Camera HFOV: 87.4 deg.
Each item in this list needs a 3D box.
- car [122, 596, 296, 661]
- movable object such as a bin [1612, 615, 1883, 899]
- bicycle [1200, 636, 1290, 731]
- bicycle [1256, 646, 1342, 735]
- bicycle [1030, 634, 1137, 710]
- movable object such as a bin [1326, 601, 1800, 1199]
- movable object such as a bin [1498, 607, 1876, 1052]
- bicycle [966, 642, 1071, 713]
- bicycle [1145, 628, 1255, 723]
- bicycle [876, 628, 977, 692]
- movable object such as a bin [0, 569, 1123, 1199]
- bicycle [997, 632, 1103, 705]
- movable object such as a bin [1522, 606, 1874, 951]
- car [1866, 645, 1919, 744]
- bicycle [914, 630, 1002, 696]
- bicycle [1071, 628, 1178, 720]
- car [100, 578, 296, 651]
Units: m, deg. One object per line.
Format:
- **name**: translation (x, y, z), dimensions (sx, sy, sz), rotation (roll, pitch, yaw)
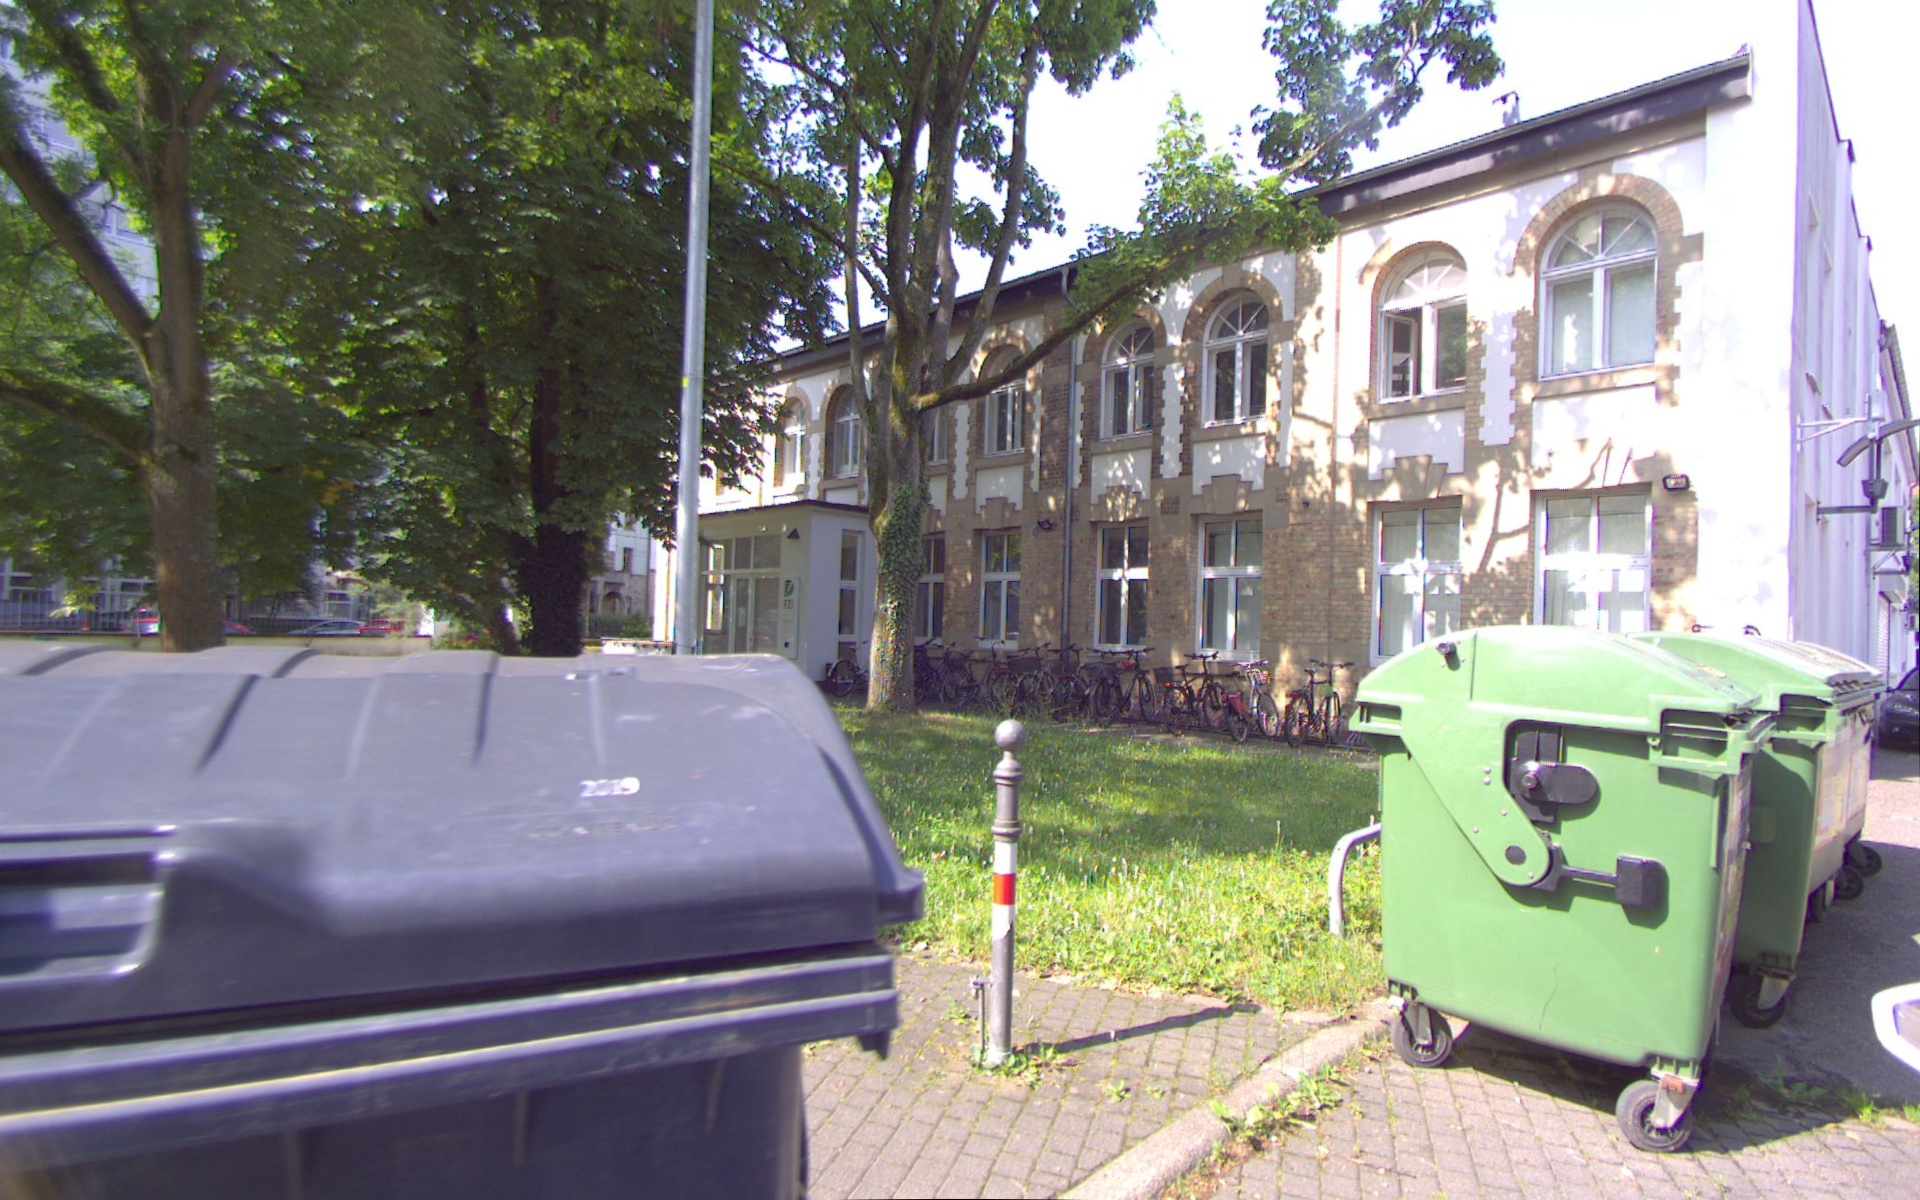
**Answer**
- **car**: translation (-19.548, 0.689, 26.314), dimensions (1.639, 1.506, 3.279), rotation (0, 1, 18)
- **movable object such as a bin**: translation (4.939, 0.867, 6.296), dimensions (1.333, 1.471, 1.089), rotation (-1, 3, -43)
- **bicycle**: translation (3.977, 1.126, 13.923), dimensions (0.353, 1.158, 1.848), rotation (4, 3, 43)
- **bicycle**: translation (4.606, 1.190, 13.583), dimensions (0.316, 1.051, 1.848), rotation (4, 2, 43)
- **bicycle**: translation (1.990, 1.109, 15.973), dimensions (2.051, 1.070, 0.415), rotation (0, 3, -42)
- **movable object such as a bin**: translation (2.053, 0.769, 3.380), dimensions (1.087, 1.471, 1.336), rotation (3, 3, 42)
- **movable object such as a bin**: translation (2.958, 0.804, 4.273), dimensions (1.083, 1.471, 1.231), rotation (3, 3, 30)
- **bicycle**: translation (1.013, 1.276, 16.924), dimensions (2.051, 1.070, 0.415), rotation (0, -1, -42)
- **bicycle**: translation (3.529, 1.065, 14.652), dimensions (2.051, 1.232, 0.415), rotation (0, 3, -42)
- **bicycle**: translation (-0.585, 1.062, 18.273), dimensions (2.051, 1.070, 0.415), rotation (0, -1, -42)
- **movable object such as a bin**: translation (-0.702, 0.751, 1.208), dimensions (1.279, 1.501, 1.242), rotation (2, -2, -25)
- **bicycle**: translation (1.506, 1.094, 16.496), dimensions (2.051, 1.070, 0.415), rotation (0, 3, -42)
- **movable object such as a bin**: translation (3.908, 0.817, 5.326), dimensions (1.273, 1.471, 1.213), rotation (2, 1, -42)
- **car**: translation (16.331, 1.529, 16.547), dimensions (1.860, 1.461, 4.313), rotation (3, 0, 45)
- **bicycle**: translation (-0.004, 1.075, 17.457), dimensions (0.316, 1.051, 1.849), rotation (4, 2, 43)
- **bicycle**: translation (2.549, 1.097, 15.350), dimensions (2.050, 1.138, 0.415), rotation (-5, 6, -41)
- **car**: translation (-18.957, 0.434, 25.193), dimensions (1.646, 1.632, 3.587), rotation (-1, -4, 17)
